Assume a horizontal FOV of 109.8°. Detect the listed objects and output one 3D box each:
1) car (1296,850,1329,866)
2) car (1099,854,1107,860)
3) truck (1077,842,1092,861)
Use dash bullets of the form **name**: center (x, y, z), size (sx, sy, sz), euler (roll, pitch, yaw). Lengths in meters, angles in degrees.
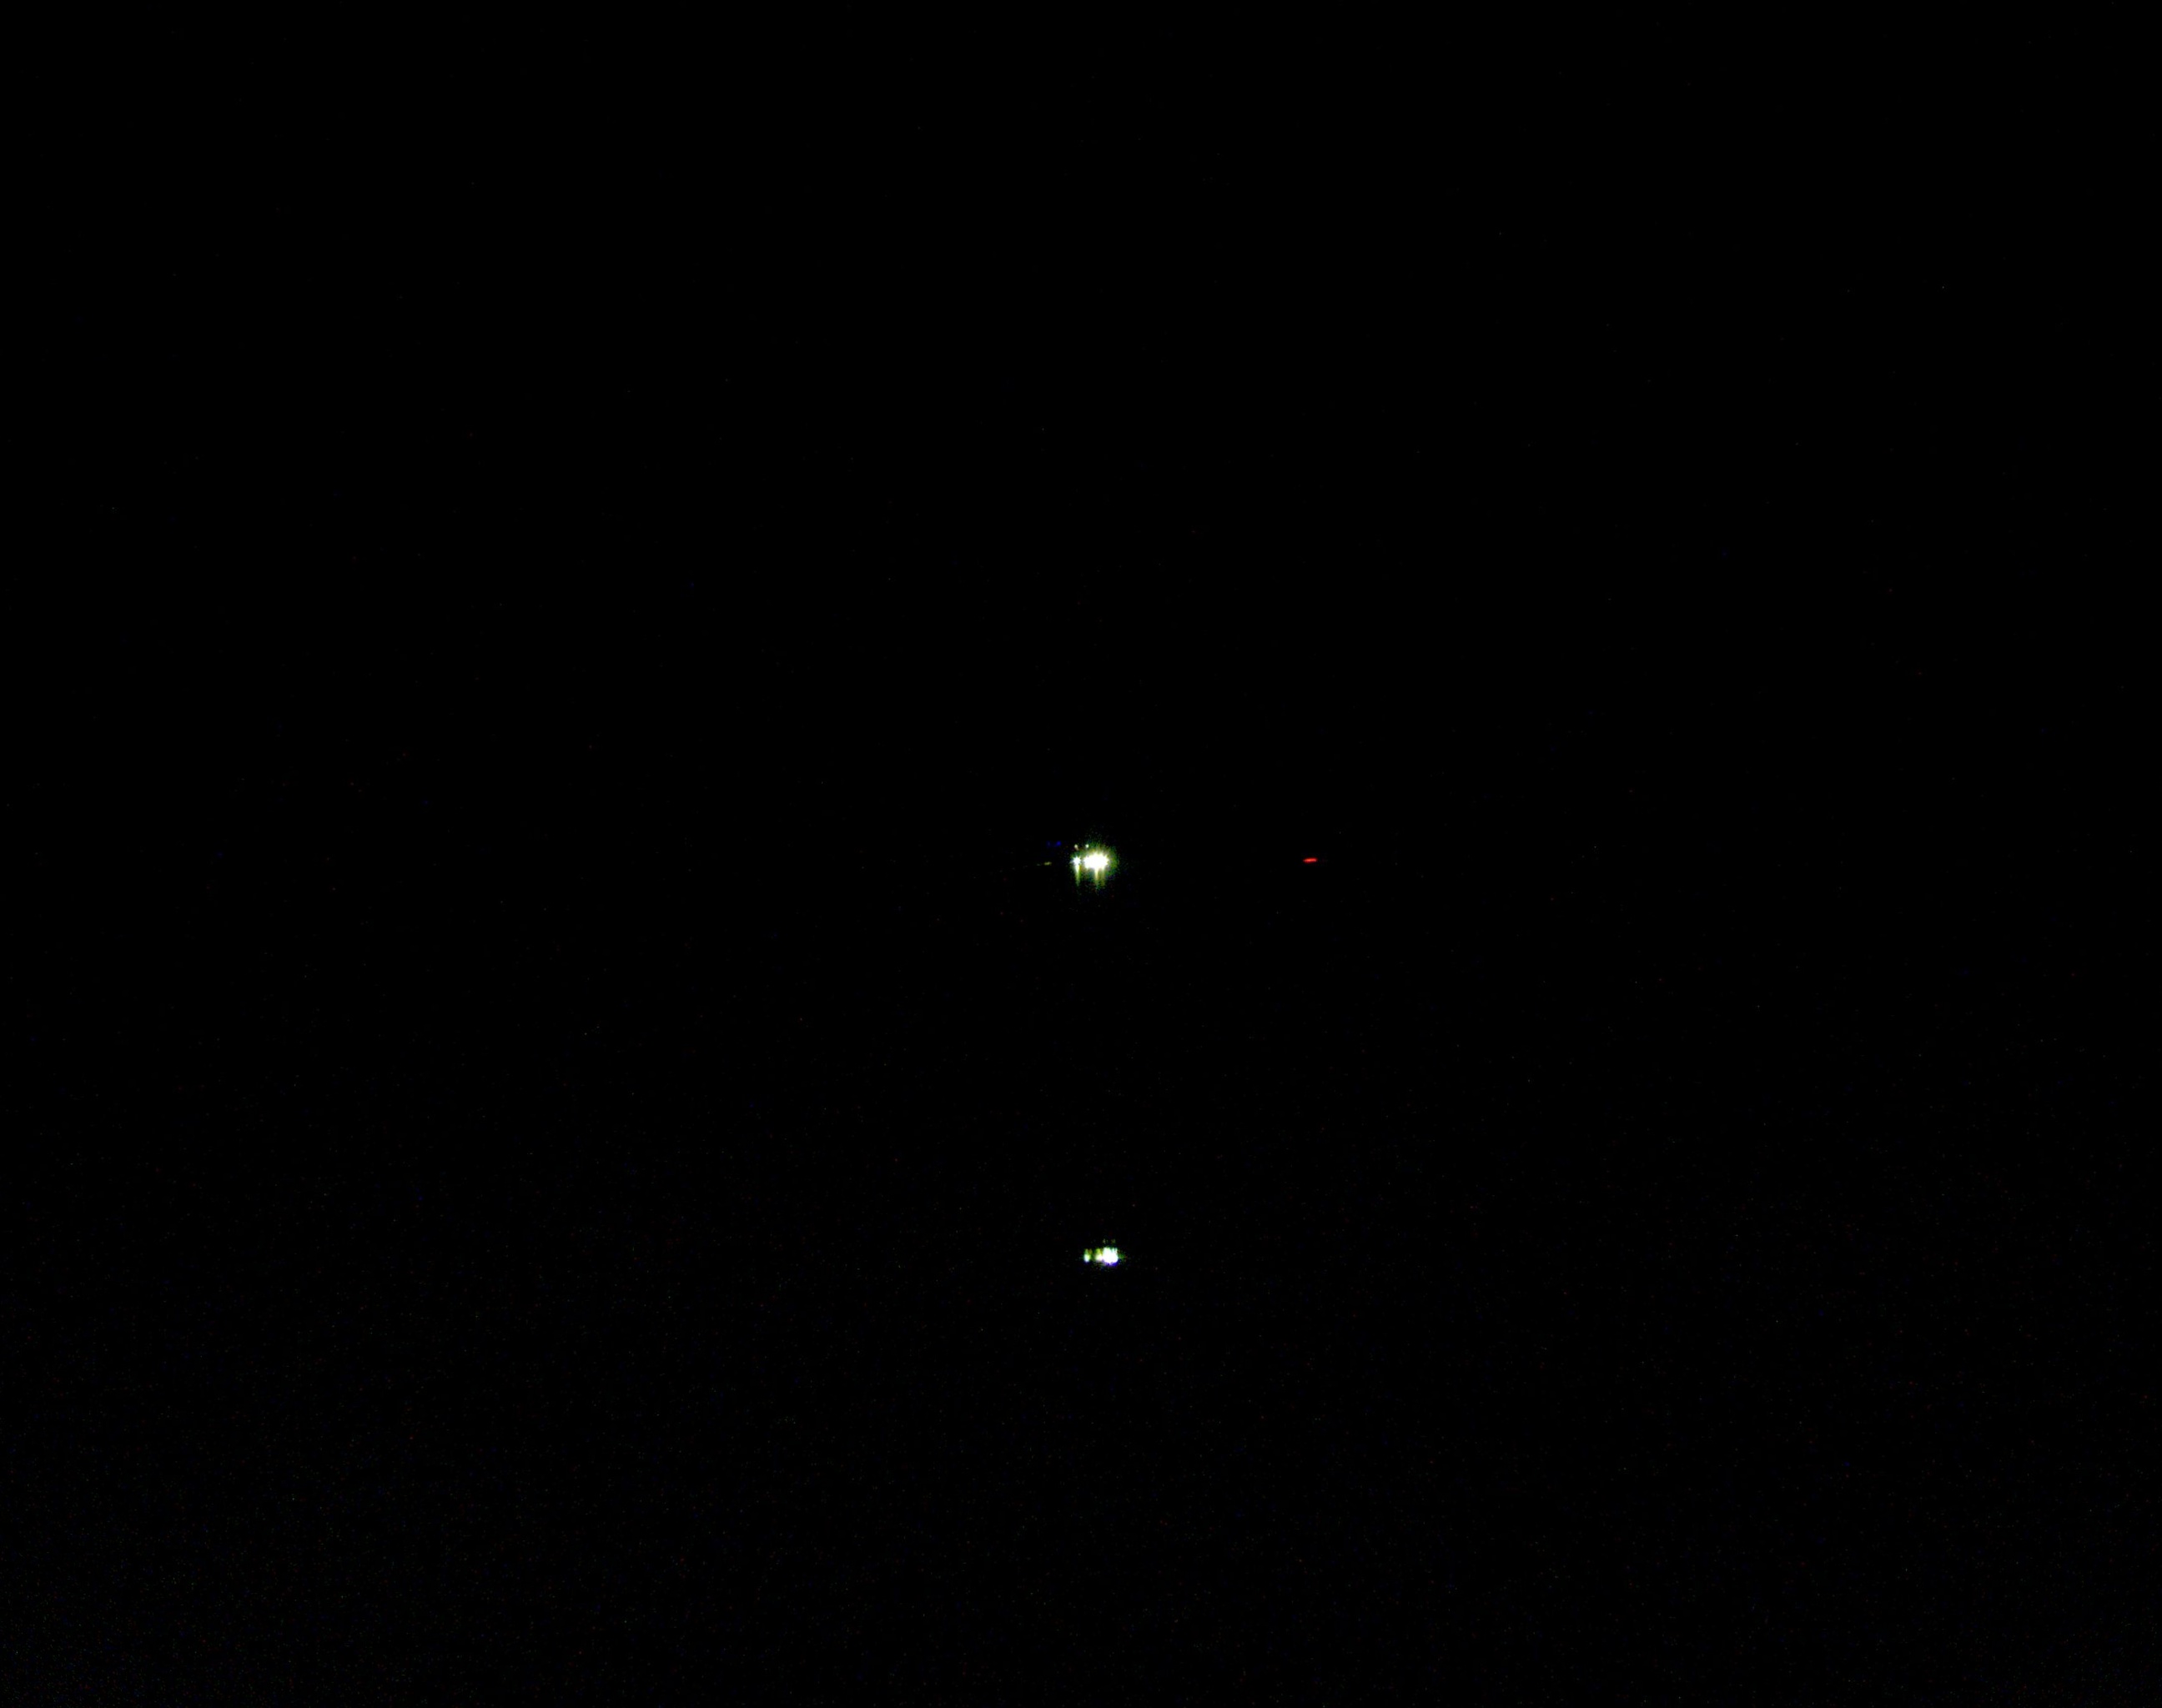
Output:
- **car**: center (23.695, 0.395, 77.986), size (1.903, 1.636, 4.702), euler (-1, 0, -1)
- **car**: center (5.279, 0.746, 180.825), size (1.845, 1.475, 4.294), euler (-2, 0, 4)
- **truck**: center (0.698, -0.513, 160.387), size (3.004, 3.876, 12.887), euler (-2, 0, 0)
